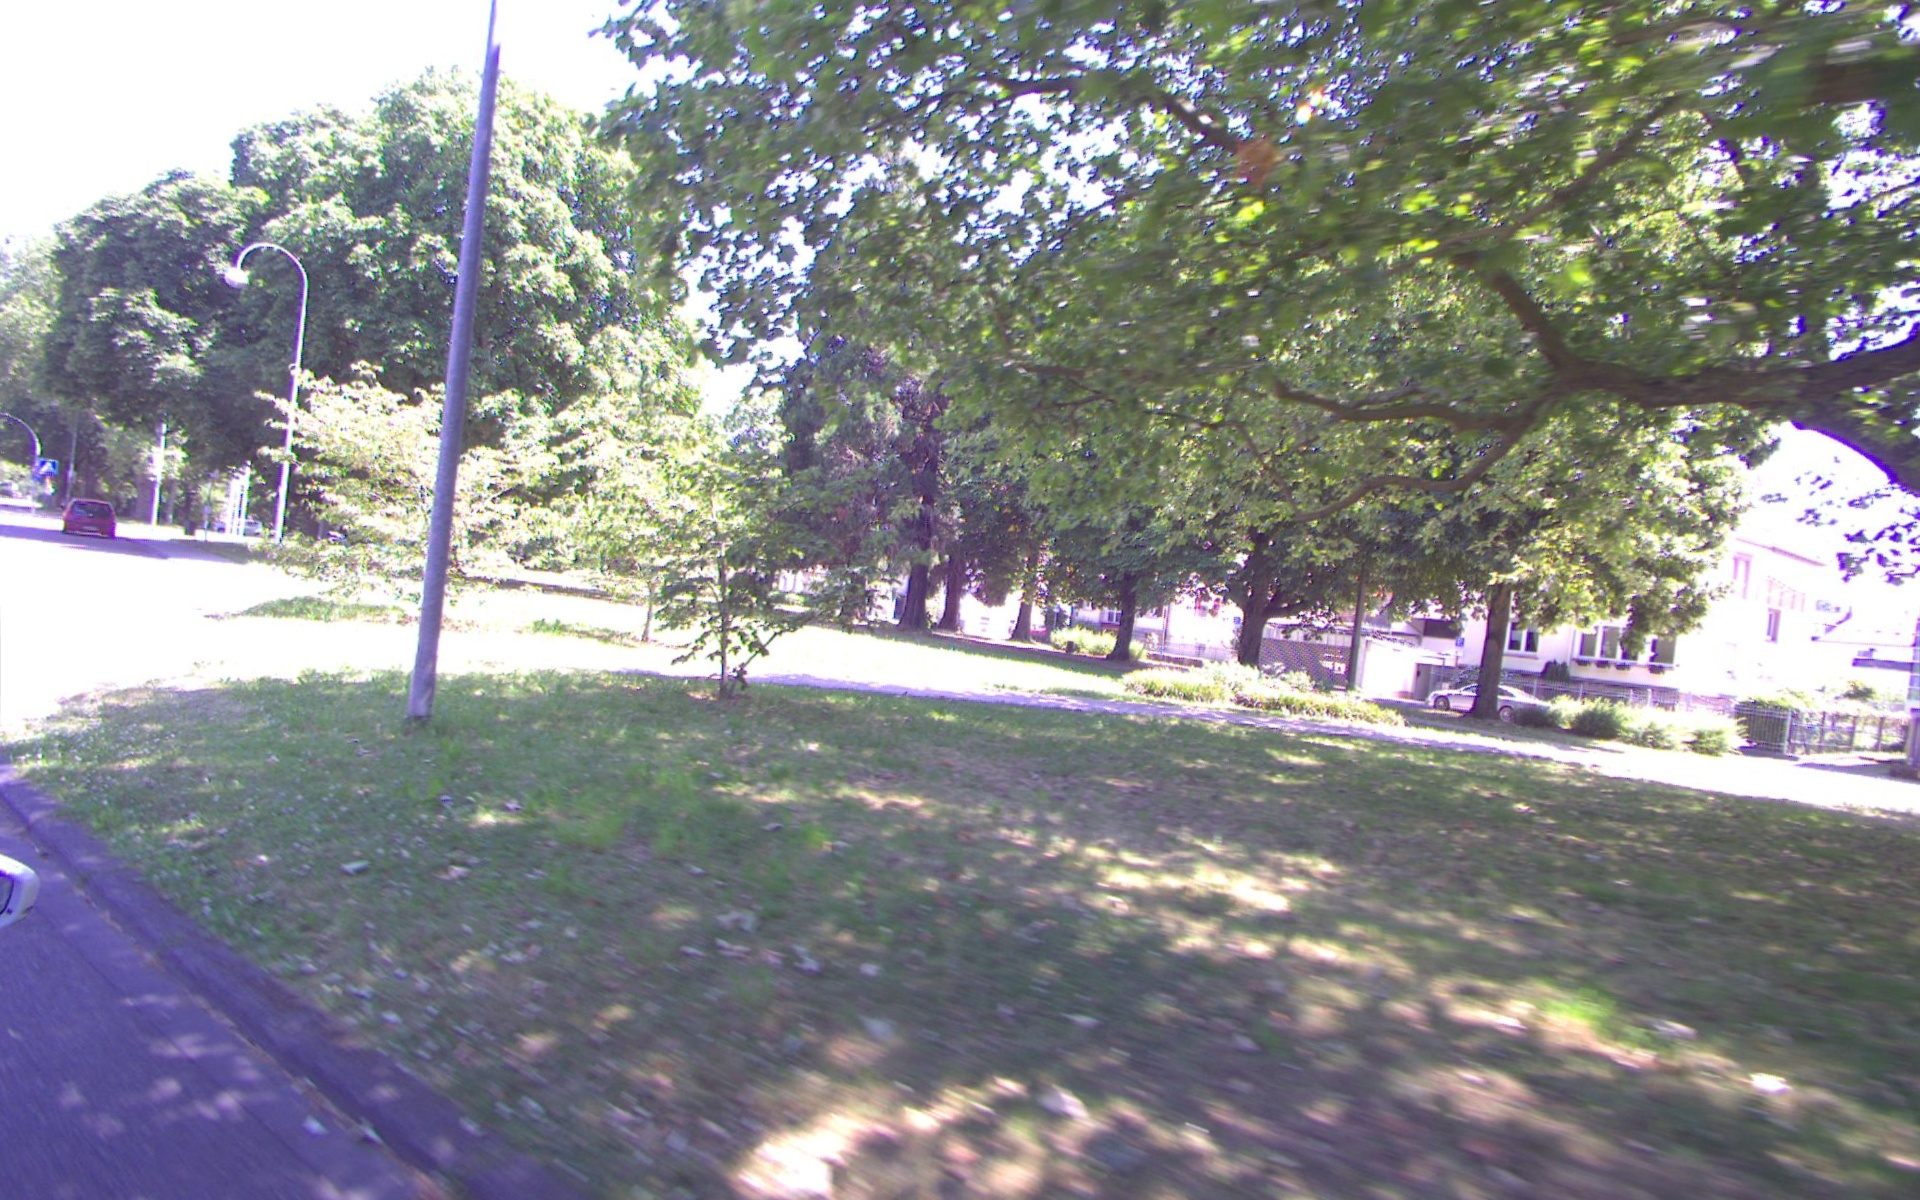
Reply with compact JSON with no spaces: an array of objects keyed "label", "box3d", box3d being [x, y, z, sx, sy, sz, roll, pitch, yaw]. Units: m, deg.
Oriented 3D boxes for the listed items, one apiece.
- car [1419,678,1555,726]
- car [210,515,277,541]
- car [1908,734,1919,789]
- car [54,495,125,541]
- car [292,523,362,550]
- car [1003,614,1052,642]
[{"label":"car","box3d":[21.476,4.134,41.173,1.653,1.303,4.676,6,-1,-32]},{"label":"car","box3d":[-58.849,-5.893,82.646,1.974,1.484,4.094,7,0,45]},{"label":"car","box3d":[29.074,4.825,27.680,1.738,1.542,3.964,8,-1,-34]},{"label":"car","box3d":[-34.612,-3.270,39.958,3.657,1.497,1.715,6,0,44]},{"label":"car","box3d":[-54.340,-5.428,86.366,4.803,1.627,1.978,8,0,-40]},{"label":"car","box3d":[5.742,2.362,85.573,3.718,1.981,1.818,7,-1,-30]}]
